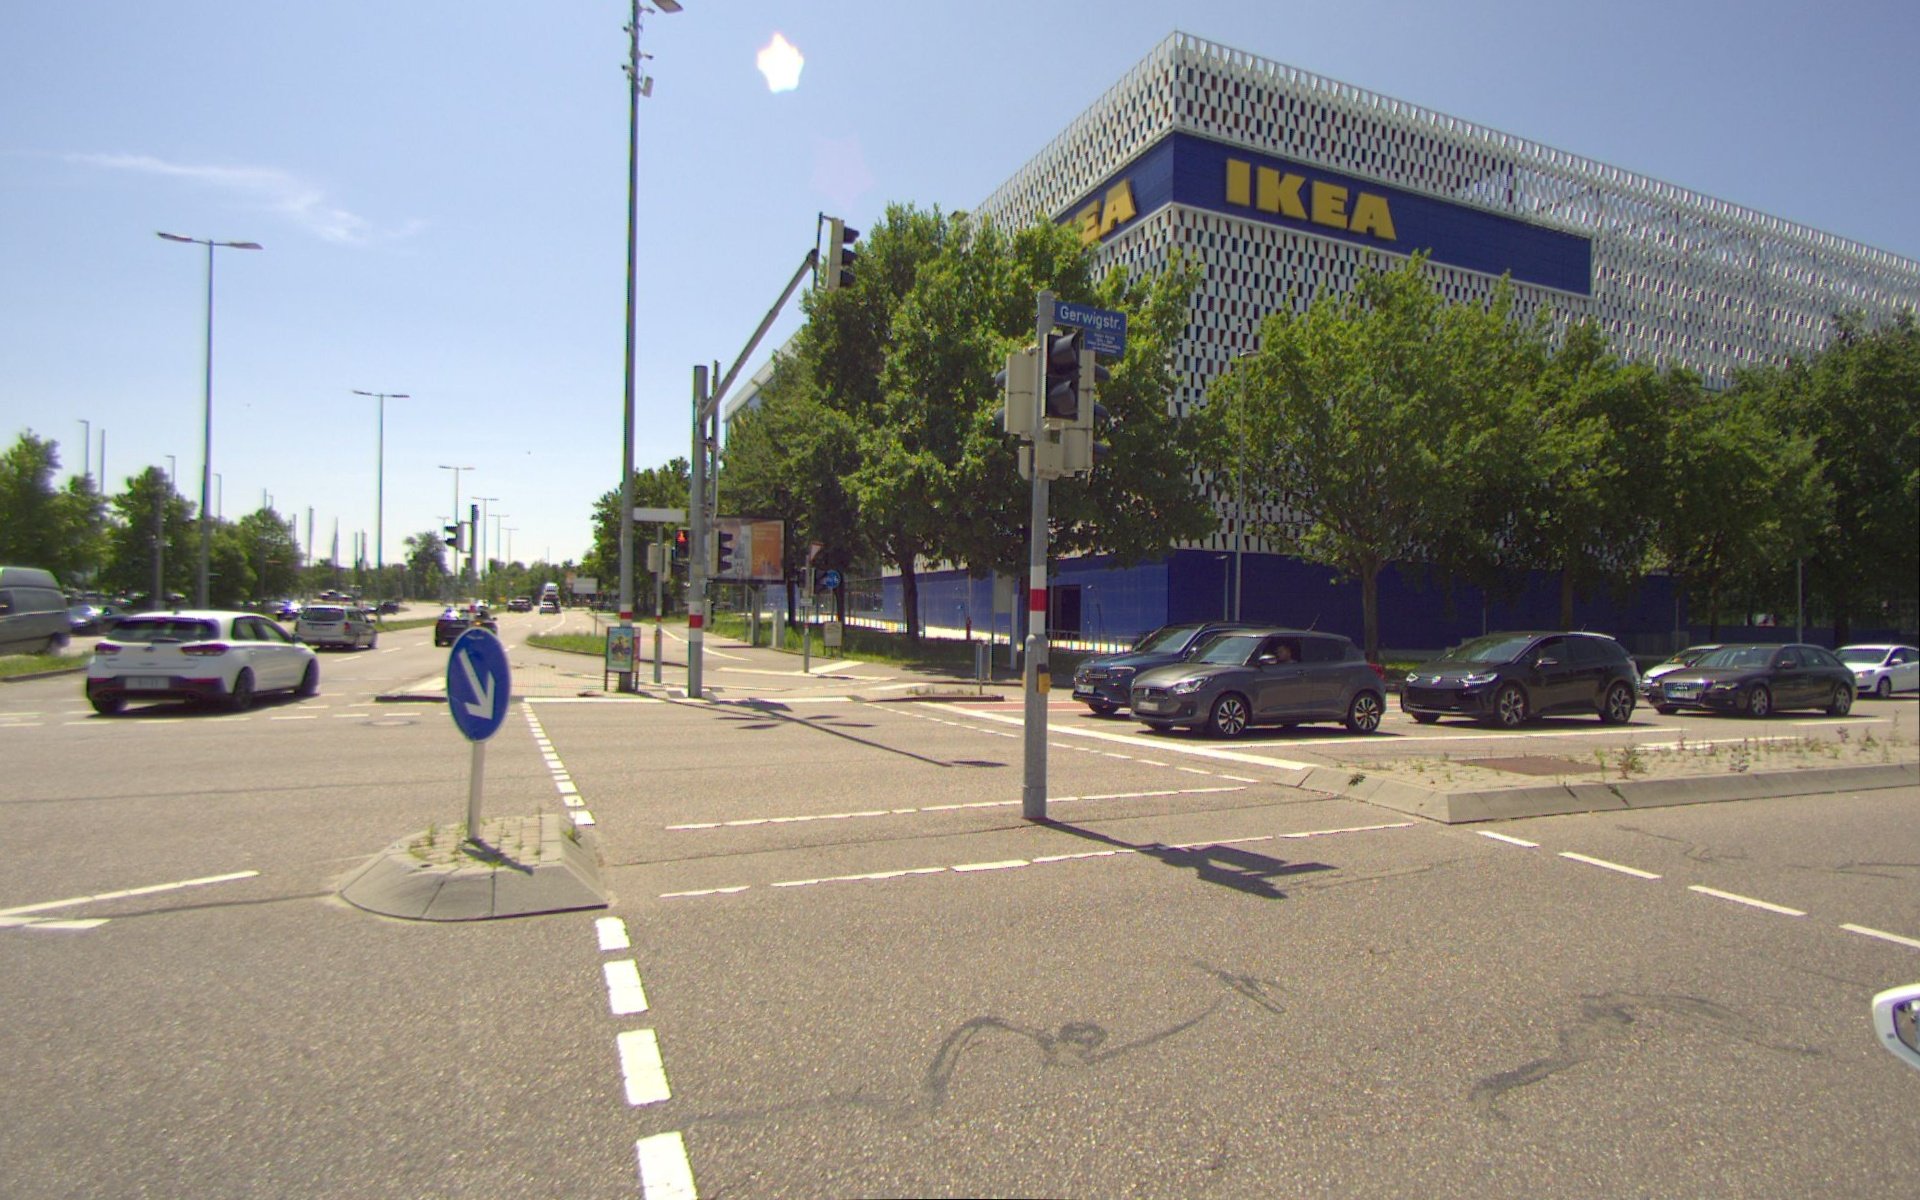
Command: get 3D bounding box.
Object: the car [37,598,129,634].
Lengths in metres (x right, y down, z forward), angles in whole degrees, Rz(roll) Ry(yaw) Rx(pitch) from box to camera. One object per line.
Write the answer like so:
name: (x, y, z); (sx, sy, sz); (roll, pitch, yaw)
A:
car: (-39.132, 0.707, 44.936); (1.832, 1.528, 3.979); (1, -1, -22)

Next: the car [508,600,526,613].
car: (-55.835, 0.852, 126.645); (1.896, 1.572, 3.591); (1, -1, -20)

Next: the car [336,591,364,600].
car: (-99.992, -0.738, 164.630); (3.966, 1.441, 1.683); (2, -1, -33)

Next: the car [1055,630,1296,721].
car: (3.818, 1.296, 17.737); (3.983, 1.443, 1.656); (2, -2, -25)

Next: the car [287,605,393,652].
car: (-20.446, 0.936, 33.293); (1.668, 1.441, 4.001); (0, -1, -11)

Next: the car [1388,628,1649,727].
car: (9.514, 1.288, 17.094); (4.184, 1.525, 1.723); (2, -3, -24)

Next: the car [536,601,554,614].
car: (-51.580, 0.917, 124.992); (1.971, 1.572, 3.980); (1, -1, -21)

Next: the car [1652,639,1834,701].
car: (19.649, 1.710, 25.188); (4.561, 1.441, 1.741); (1, -2, -25)

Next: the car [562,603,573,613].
car: (-62.807, 1.302, 160.731); (1.530, 1.572, 3.405); (1, -1, -20)

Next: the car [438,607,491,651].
car: (-19.762, 1.186, 40.010); (1.780, 1.459, 4.527); (-1, -4, -27)

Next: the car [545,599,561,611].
car: (-55.128, 0.742, 136.048); (1.972, 1.572, 3.978); (1, -1, -23)

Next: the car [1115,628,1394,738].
car: (4.222, 1.154, 14.412); (3.664, 1.407, 1.640); (2, -3, -24)

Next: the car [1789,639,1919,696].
car: (25.170, 1.859, 27.793); (4.392, 1.464, 1.722); (2, -3, -25)

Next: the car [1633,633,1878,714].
car: (15.821, 1.442, 19.967); (4.650, 1.464, 1.724); (2, -3, -22)

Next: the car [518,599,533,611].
car: (-57.481, 0.712, 132.937); (1.620, 1.572, 3.405); (1, -1, -20)

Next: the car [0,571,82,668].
car: (-23.108, 0.441, 23.577); (1.969, 2.212, 5.028); (1, -1, -19)

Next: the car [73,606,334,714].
car: (-11.538, 0.860, 15.707); (1.763, 1.455, 4.060); (1, -1, -14)

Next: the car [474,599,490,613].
car: (-67.905, 0.876, 142.619); (1.790, 2.040, 3.978); (1, -1, -22)

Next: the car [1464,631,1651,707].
car: (13.370, 1.517, 22.475); (3.862, 1.564, 1.722); (2, -2, -25)
